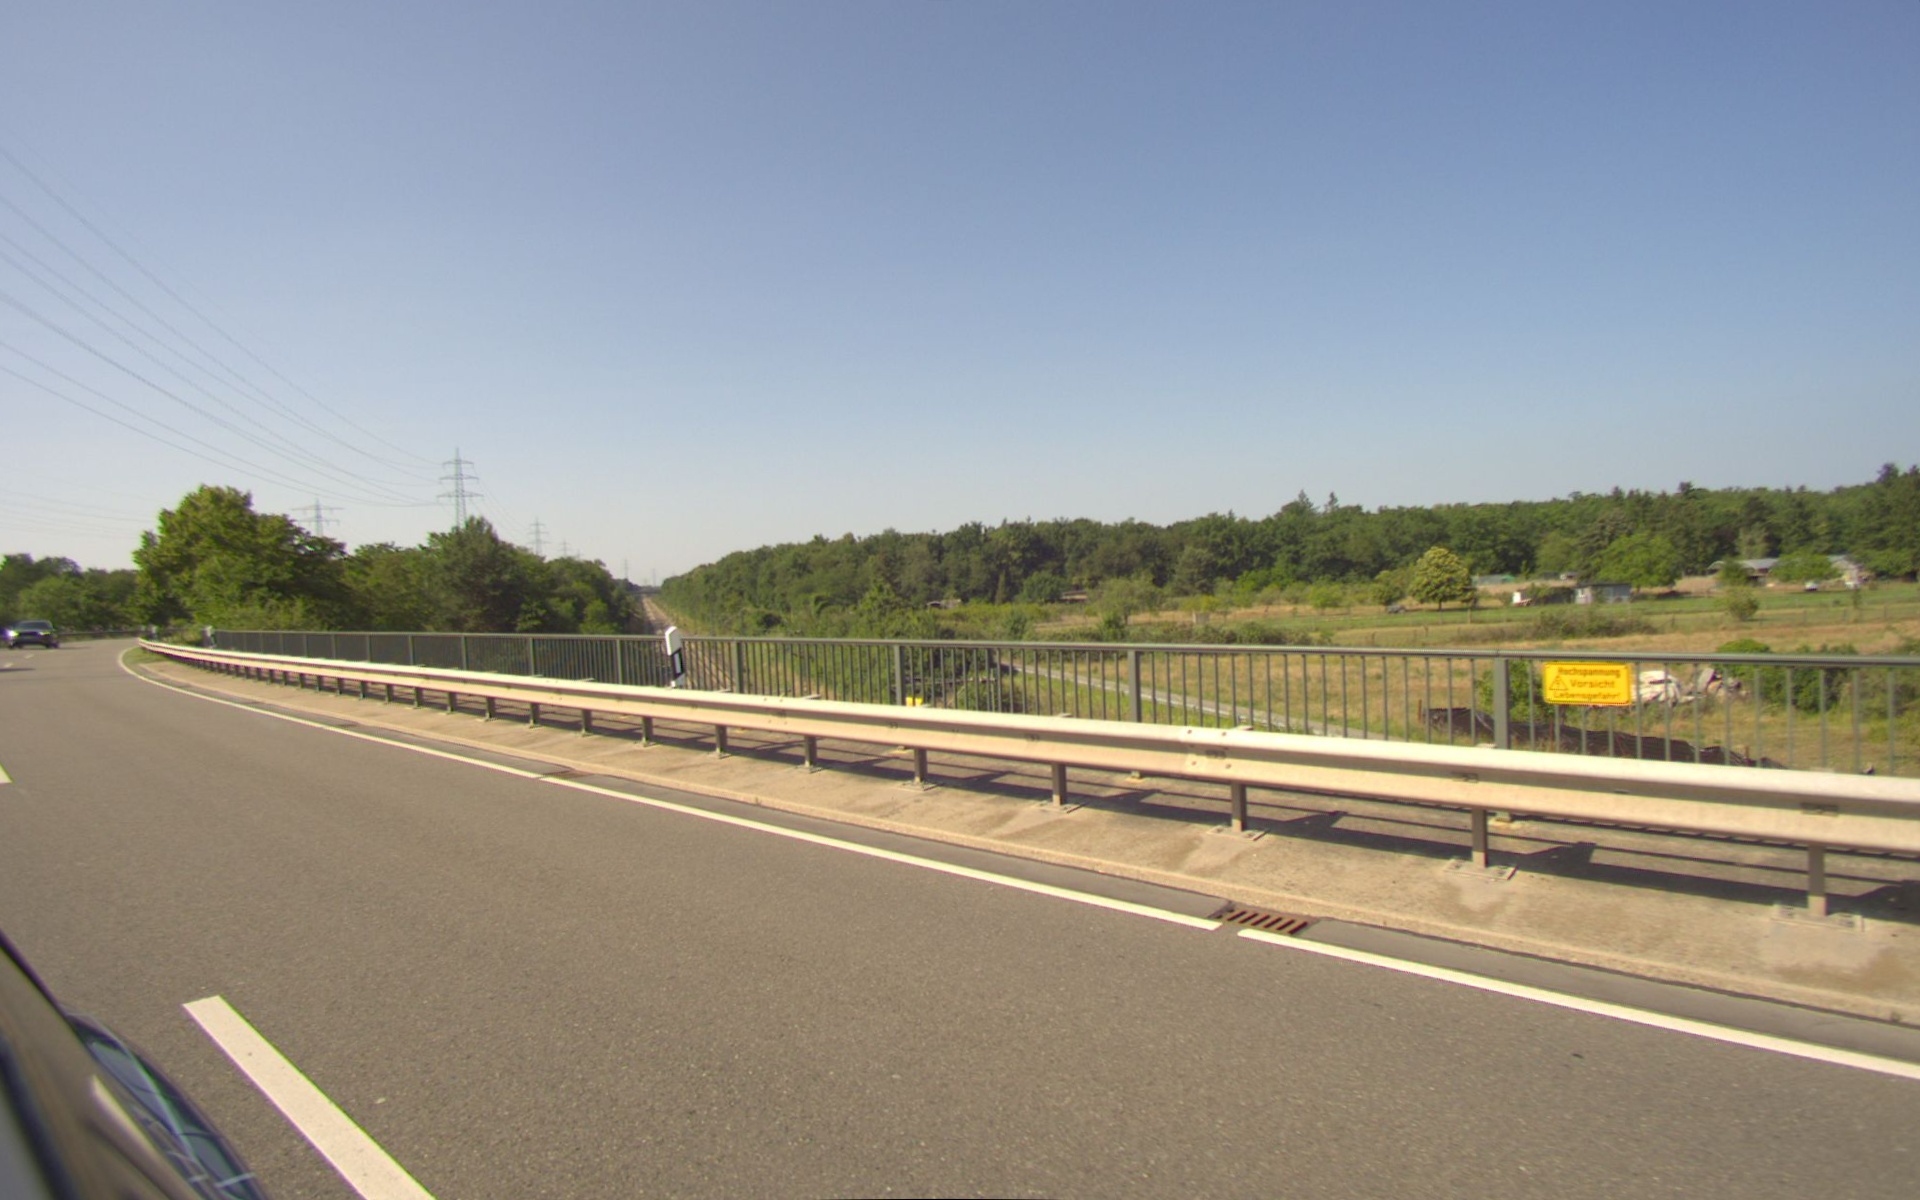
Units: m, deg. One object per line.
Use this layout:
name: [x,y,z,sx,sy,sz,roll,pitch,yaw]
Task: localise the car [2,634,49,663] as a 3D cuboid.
car: [-54.820,2.828,59.417,1.582,1.506,4.009,-1,1,-37]
